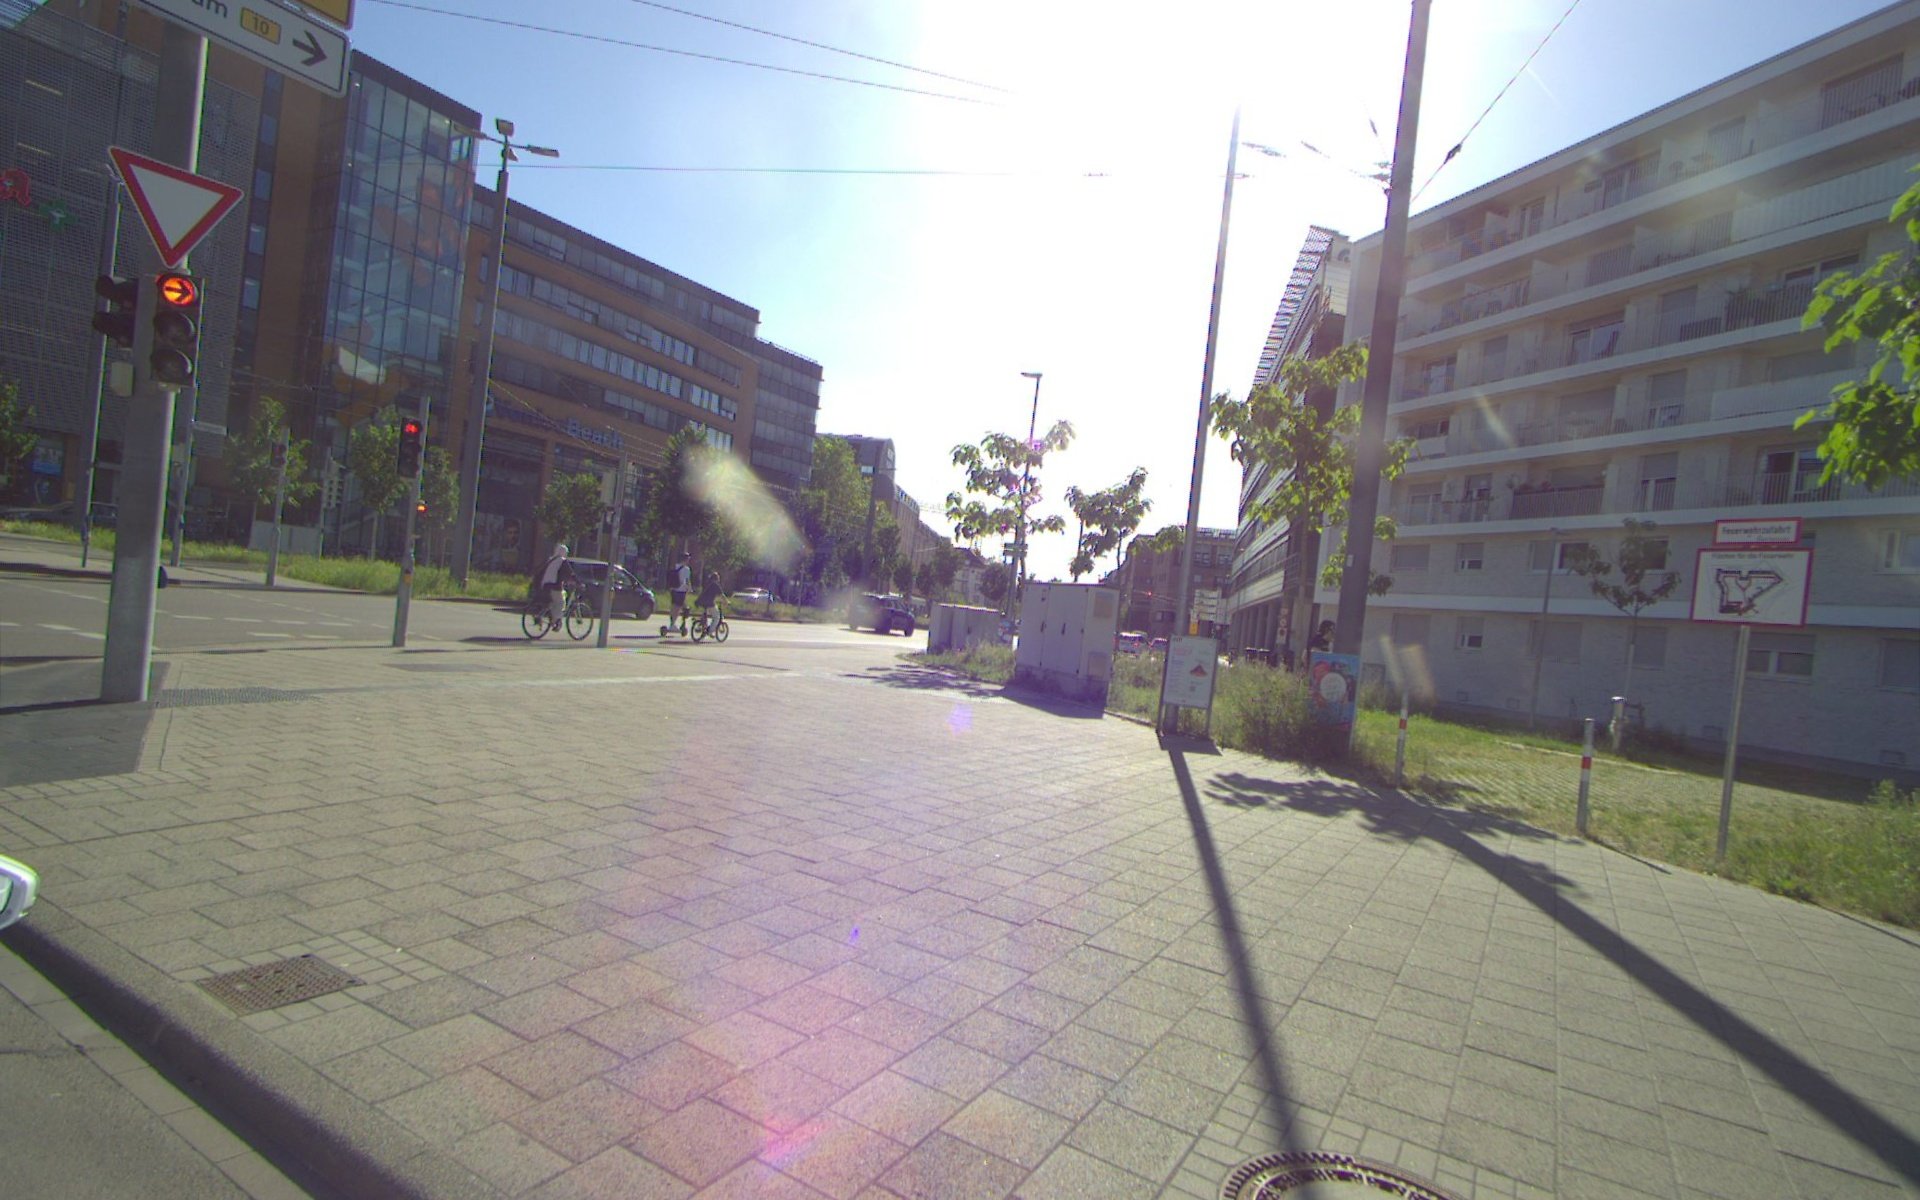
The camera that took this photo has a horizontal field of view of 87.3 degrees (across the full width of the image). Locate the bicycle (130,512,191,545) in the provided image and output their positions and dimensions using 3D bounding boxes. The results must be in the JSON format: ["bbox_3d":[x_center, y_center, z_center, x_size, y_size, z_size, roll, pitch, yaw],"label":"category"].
[{"bbox_3d":[-40.521,-3.610,51.037,0.595,1.310,2.260,7,-2,30],"label":"bicycle"}]

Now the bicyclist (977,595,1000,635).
[{"bbox_3d":[1.213,0.648,42.828,0.563,1.585,0.886,7,-1,22],"label":"bicyclist"}]

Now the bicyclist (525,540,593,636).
[{"bbox_3d":[-7.706,-0.214,19.341,0.563,1.727,0.885,7,-1,25],"label":"bicyclist"}]

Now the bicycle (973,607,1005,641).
[{"bbox_3d":[1.273,1.033,43.074,0.576,1.271,2.042,7,-2,22],"label":"bicycle"}]

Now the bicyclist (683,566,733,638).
[{"bbox_3d":[-6.042,0.059,24.135,0.563,1.585,0.886,7,-1,22],"label":"bicyclist"}]

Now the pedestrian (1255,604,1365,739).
[{"bbox_3d":[4.870,0.986,14.050,0.970,1.719,0.842,6,2,-16],"label":"pedestrian"}]

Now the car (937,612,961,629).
[{"bbox_3d":[-1.456,2.743,131.695,1.806,1.600,4.313,7,-4,16],"label":"car"}]

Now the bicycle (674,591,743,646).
[{"bbox_3d":[-6.038,0.466,24.252,0.576,1.150,1.761,7,-2,22],"label":"bicycle"}]

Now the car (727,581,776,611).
[{"bbox_3d":[-16.418,-0.321,79.559,1.806,1.661,4.313,7,-4,17],"label":"car"}]

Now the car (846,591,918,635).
[{"bbox_3d":[-3.523,0.631,46.040,1.616,1.665,4.200,7,-1,19],"label":"car"}]

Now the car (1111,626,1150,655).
[{"bbox_3d":[11.034,2.639,64.981,1.677,1.515,4.281,7,-2,19],"label":"car"}]

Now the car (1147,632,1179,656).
[{"bbox_3d":[15.665,3.406,77.432,1.677,1.515,4.281,7,-2,19],"label":"car"}]

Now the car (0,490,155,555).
[{"bbox_3d":[-32.071,-2.769,36.331,1.810,1.484,4.161,6,-5,30],"label":"car"}]

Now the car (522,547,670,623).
[{"bbox_3d":[-10.112,-0.365,28.212,1.617,1.665,3.700,7,-1,26],"label":"car"}]

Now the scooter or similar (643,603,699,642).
[{"bbox_3d":[-6.973,0.550,24.331,0.603,0.795,1.213,7,-2,22],"label":"scooter or similar"}]

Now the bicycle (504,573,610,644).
[{"bbox_3d":[-7.692,0.187,19.297,0.571,1.150,1.907,7,-2,25],"label":"bicycle"}]

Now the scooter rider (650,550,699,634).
[{"bbox_3d":[-6.899,-0.182,24.315,0.563,1.894,0.787,7,-1,22],"label":"scooter rider"}]

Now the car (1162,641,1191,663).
[{"bbox_3d":[17.913,4.314,83.270,1.677,1.515,4.281,7,-2,19],"label":"car"}]
